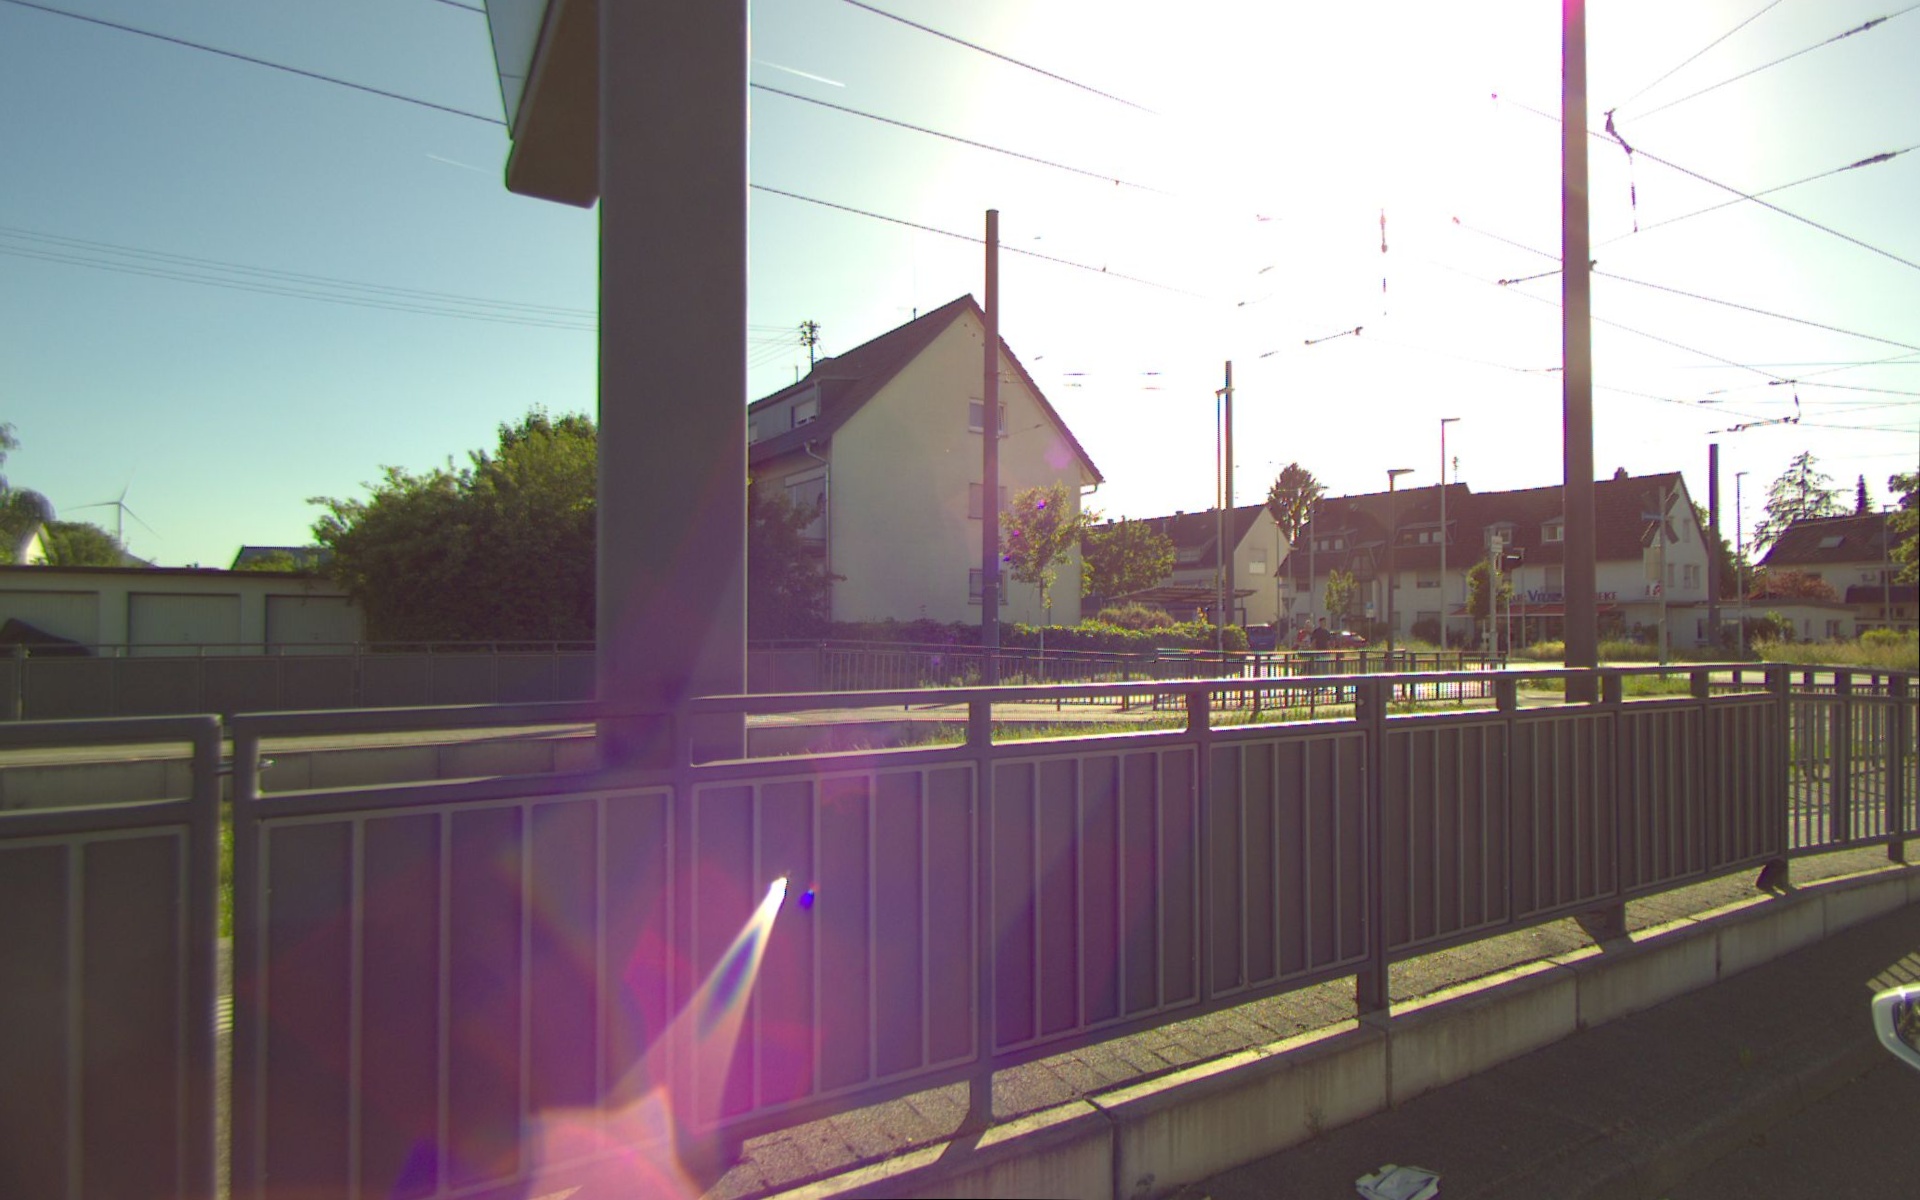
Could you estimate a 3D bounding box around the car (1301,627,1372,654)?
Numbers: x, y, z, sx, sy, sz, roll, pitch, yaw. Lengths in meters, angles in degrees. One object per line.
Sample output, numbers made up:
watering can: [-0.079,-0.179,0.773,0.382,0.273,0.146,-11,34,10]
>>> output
car: [22.165,2.368,59.217,1.805,1.492,3.481,1,-2,-38]

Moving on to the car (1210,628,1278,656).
car: [18.202,2.661,64.491,1.812,1.620,3.808,2,-1,-38]

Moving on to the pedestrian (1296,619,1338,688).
pedestrian: [9.393,1.396,26.408,0.763,1.785,0.724,1,-2,-32]

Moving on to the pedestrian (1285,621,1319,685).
pedestrian: [9.448,1.452,27.781,0.682,1.755,0.589,1,-1,-32]
